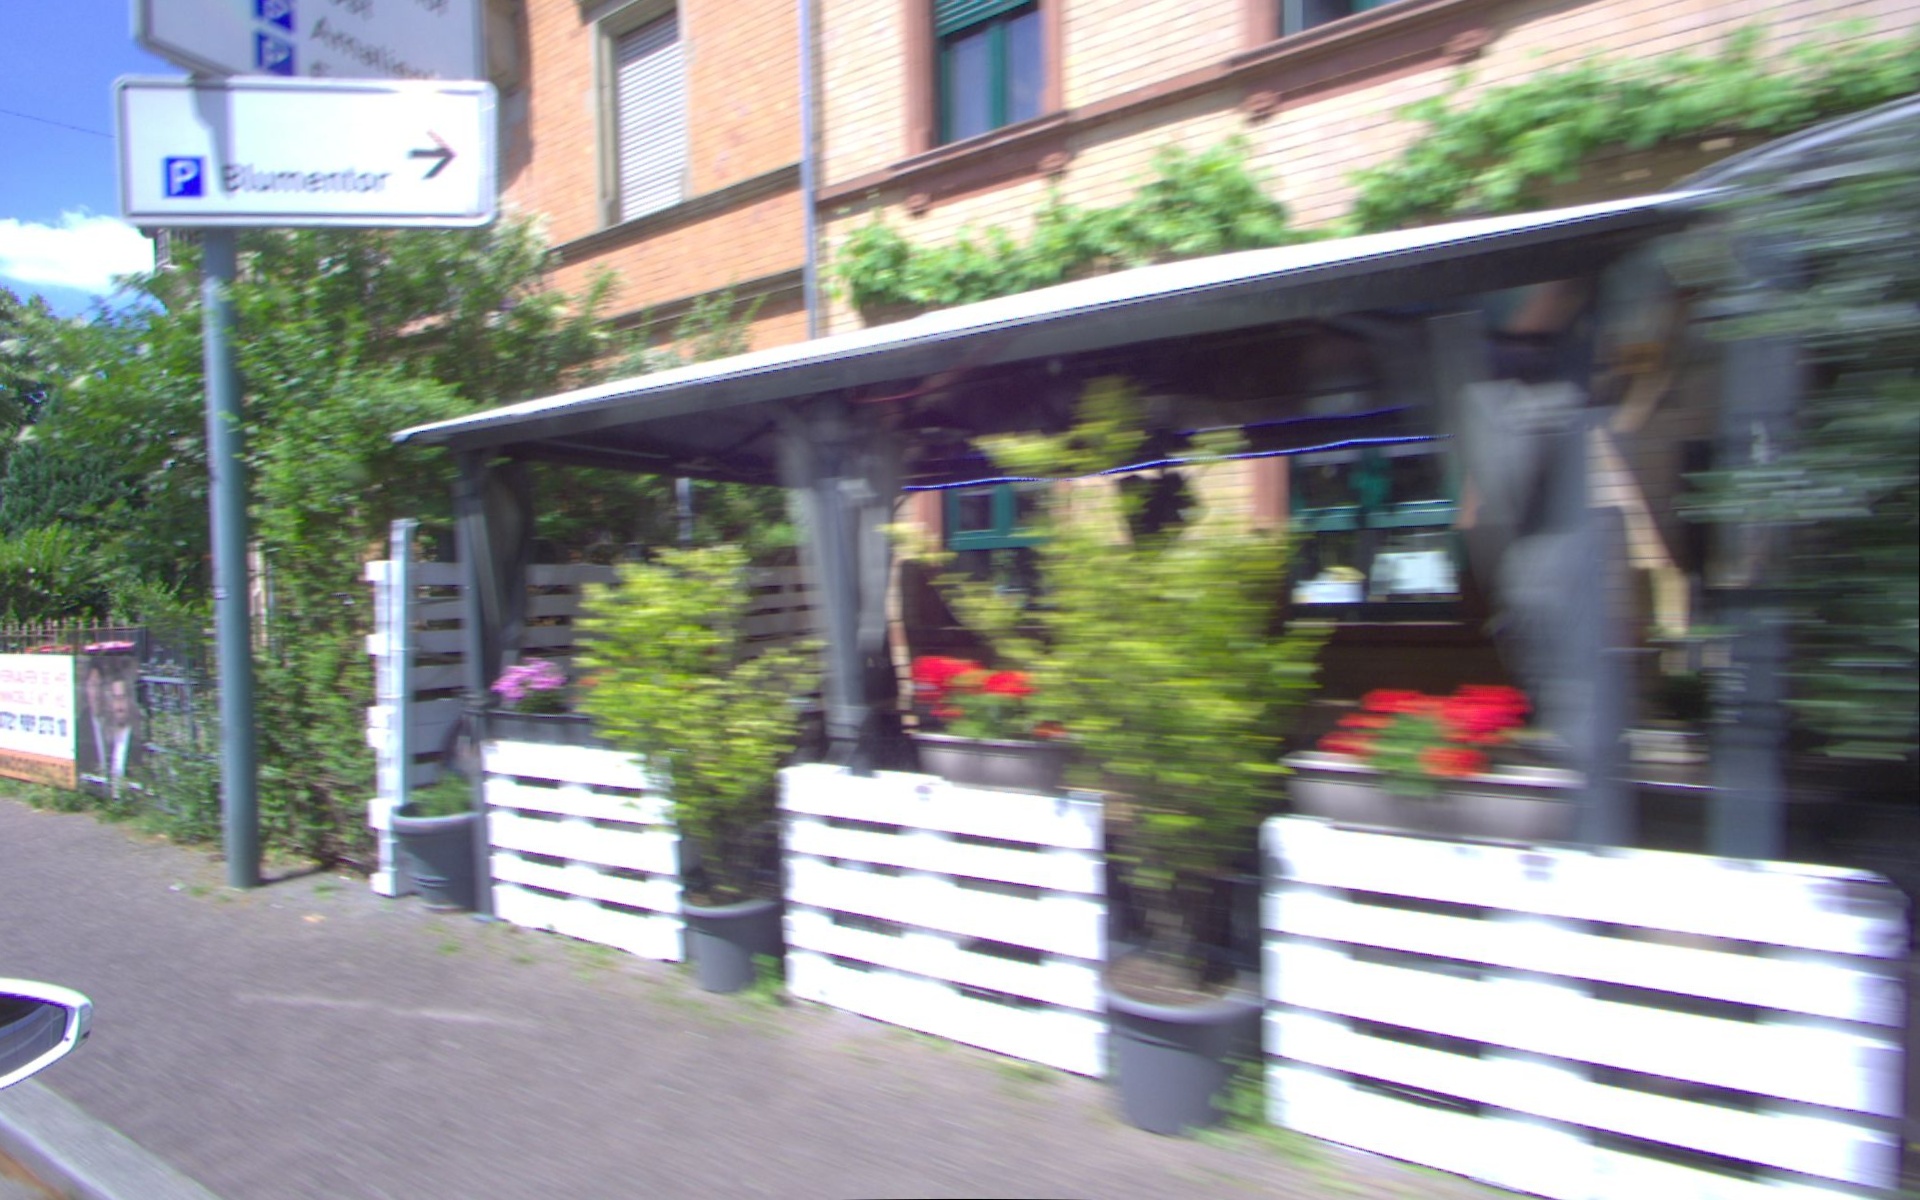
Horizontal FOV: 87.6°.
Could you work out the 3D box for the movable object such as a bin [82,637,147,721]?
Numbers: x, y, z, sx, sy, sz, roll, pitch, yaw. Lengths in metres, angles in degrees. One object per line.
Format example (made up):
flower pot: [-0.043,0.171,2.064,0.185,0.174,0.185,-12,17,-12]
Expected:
movable object such as a bin: [-11.688,1.075,13.843,0.697,1.086,0.572,0,1,41]

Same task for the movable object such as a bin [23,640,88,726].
movable object such as a bin: [-12.133,1.100,13.431,0.697,1.086,0.549,0,1,41]

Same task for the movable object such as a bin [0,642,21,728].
movable object such as a bin: [-12.591,1.097,12.907,0.630,1.086,0.646,0,1,42]
